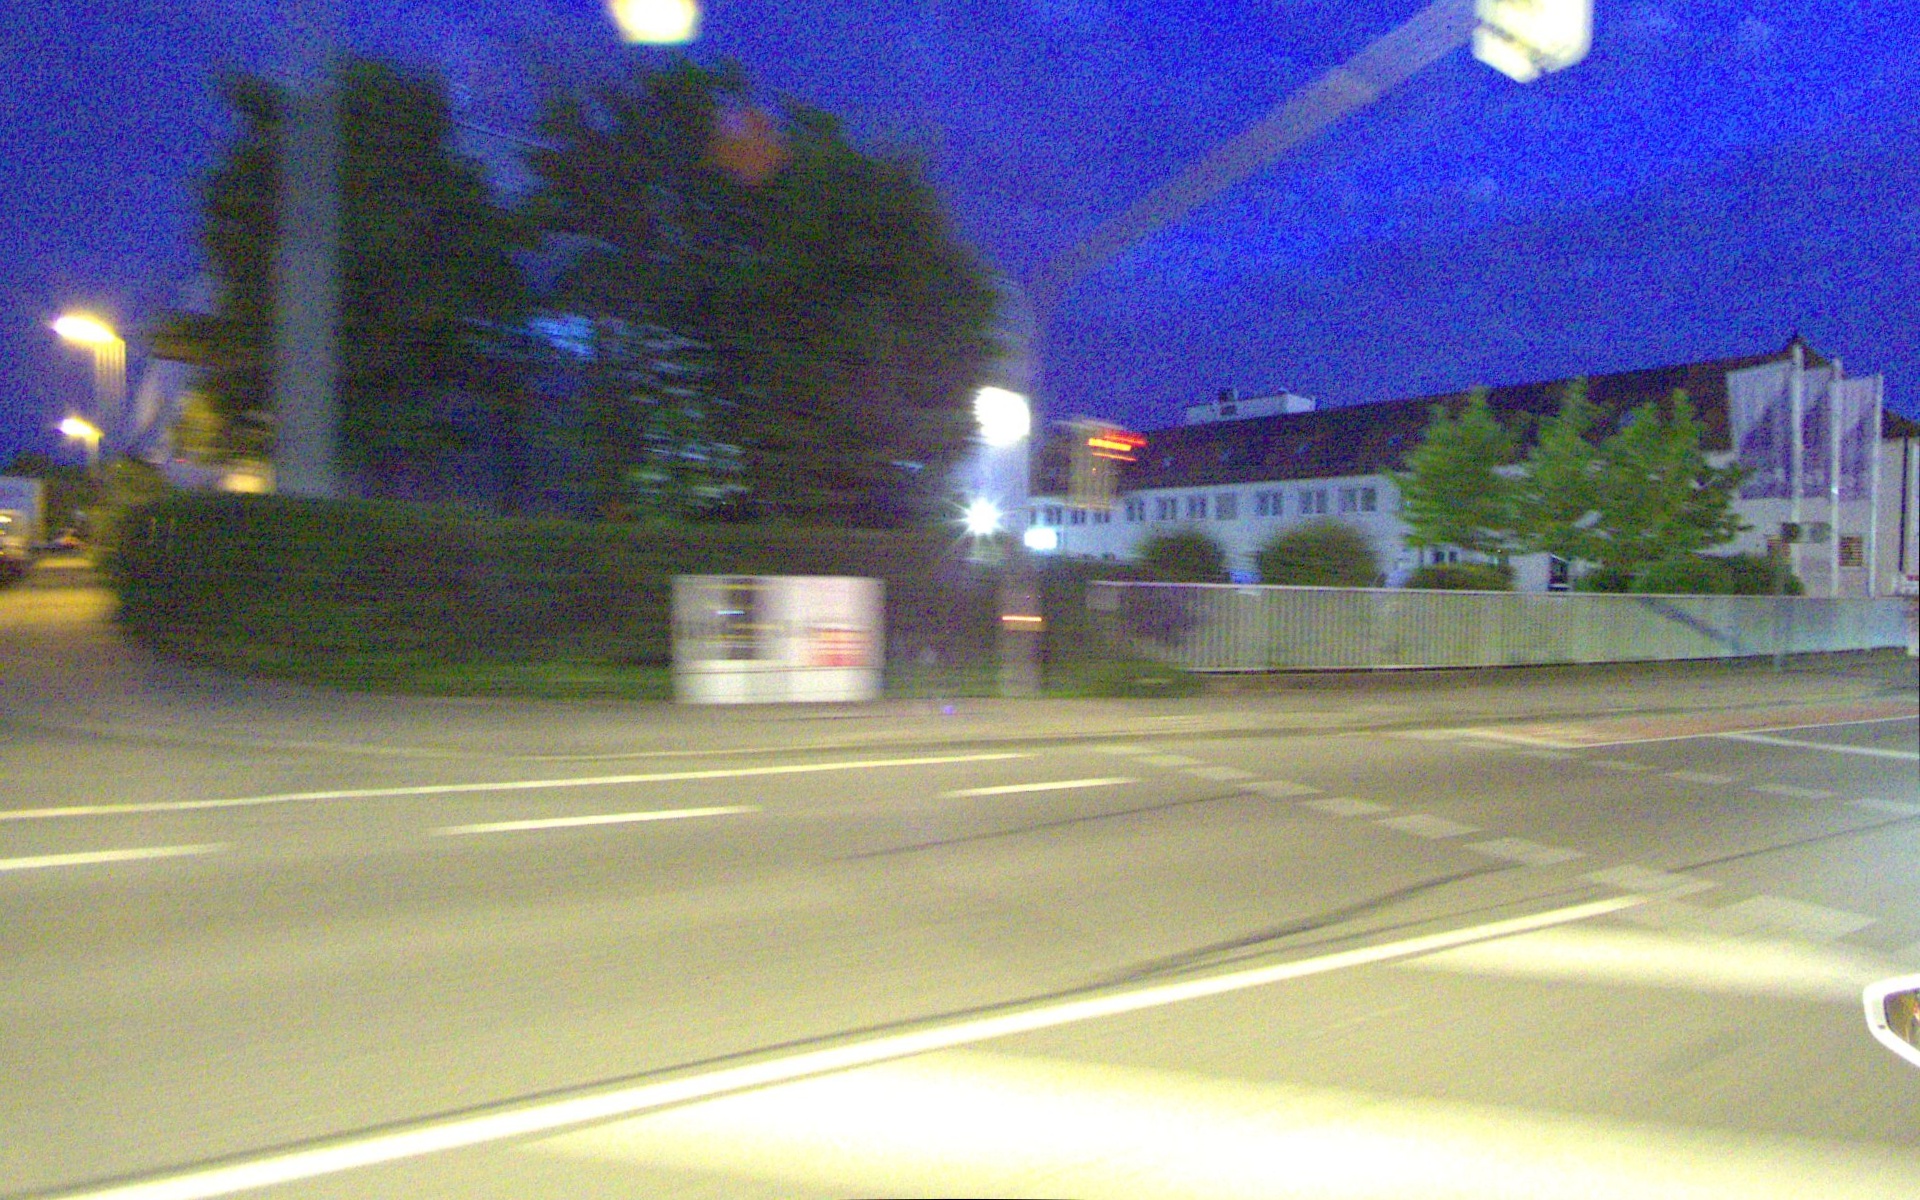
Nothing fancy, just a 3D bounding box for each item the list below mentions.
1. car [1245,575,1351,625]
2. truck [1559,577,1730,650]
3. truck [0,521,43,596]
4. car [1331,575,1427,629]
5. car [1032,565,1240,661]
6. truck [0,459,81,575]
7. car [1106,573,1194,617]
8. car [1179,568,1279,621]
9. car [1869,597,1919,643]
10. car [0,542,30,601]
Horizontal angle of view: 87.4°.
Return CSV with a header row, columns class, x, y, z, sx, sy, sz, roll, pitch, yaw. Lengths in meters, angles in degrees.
class,x,y,z,sx,sy,sz,roll,pitch,yaw
car,14.795,-0.003,43.798,2.227,2.031,5.375,2,1,44
truck,19.442,0.361,28.467,5.256,1.926,1.983,1,1,-32
truck,-32.612,-1.426,34.104,2.147,2.422,4.979,0,2,-42
car,17.179,0.069,41.071,1.973,2.041,4.658,2,1,45
car,3.557,0.215,20.960,1.980,1.796,4.099,1,1,-34
truck,-45.717,-3.813,49.531,3.453,4.875,17.186,0,2,-42
car,9.371,-0.199,49.384,4.758,2.040,1.863,0,-1,-44
car,12.433,-0.255,46.148,2.000,2.265,5.375,2,1,45
car,33.831,0.692,35.783,1.805,1.514,4.508,1,1,38
car,-28.392,-0.866,29.134,1.895,1.610,4.297,0,2,-40
